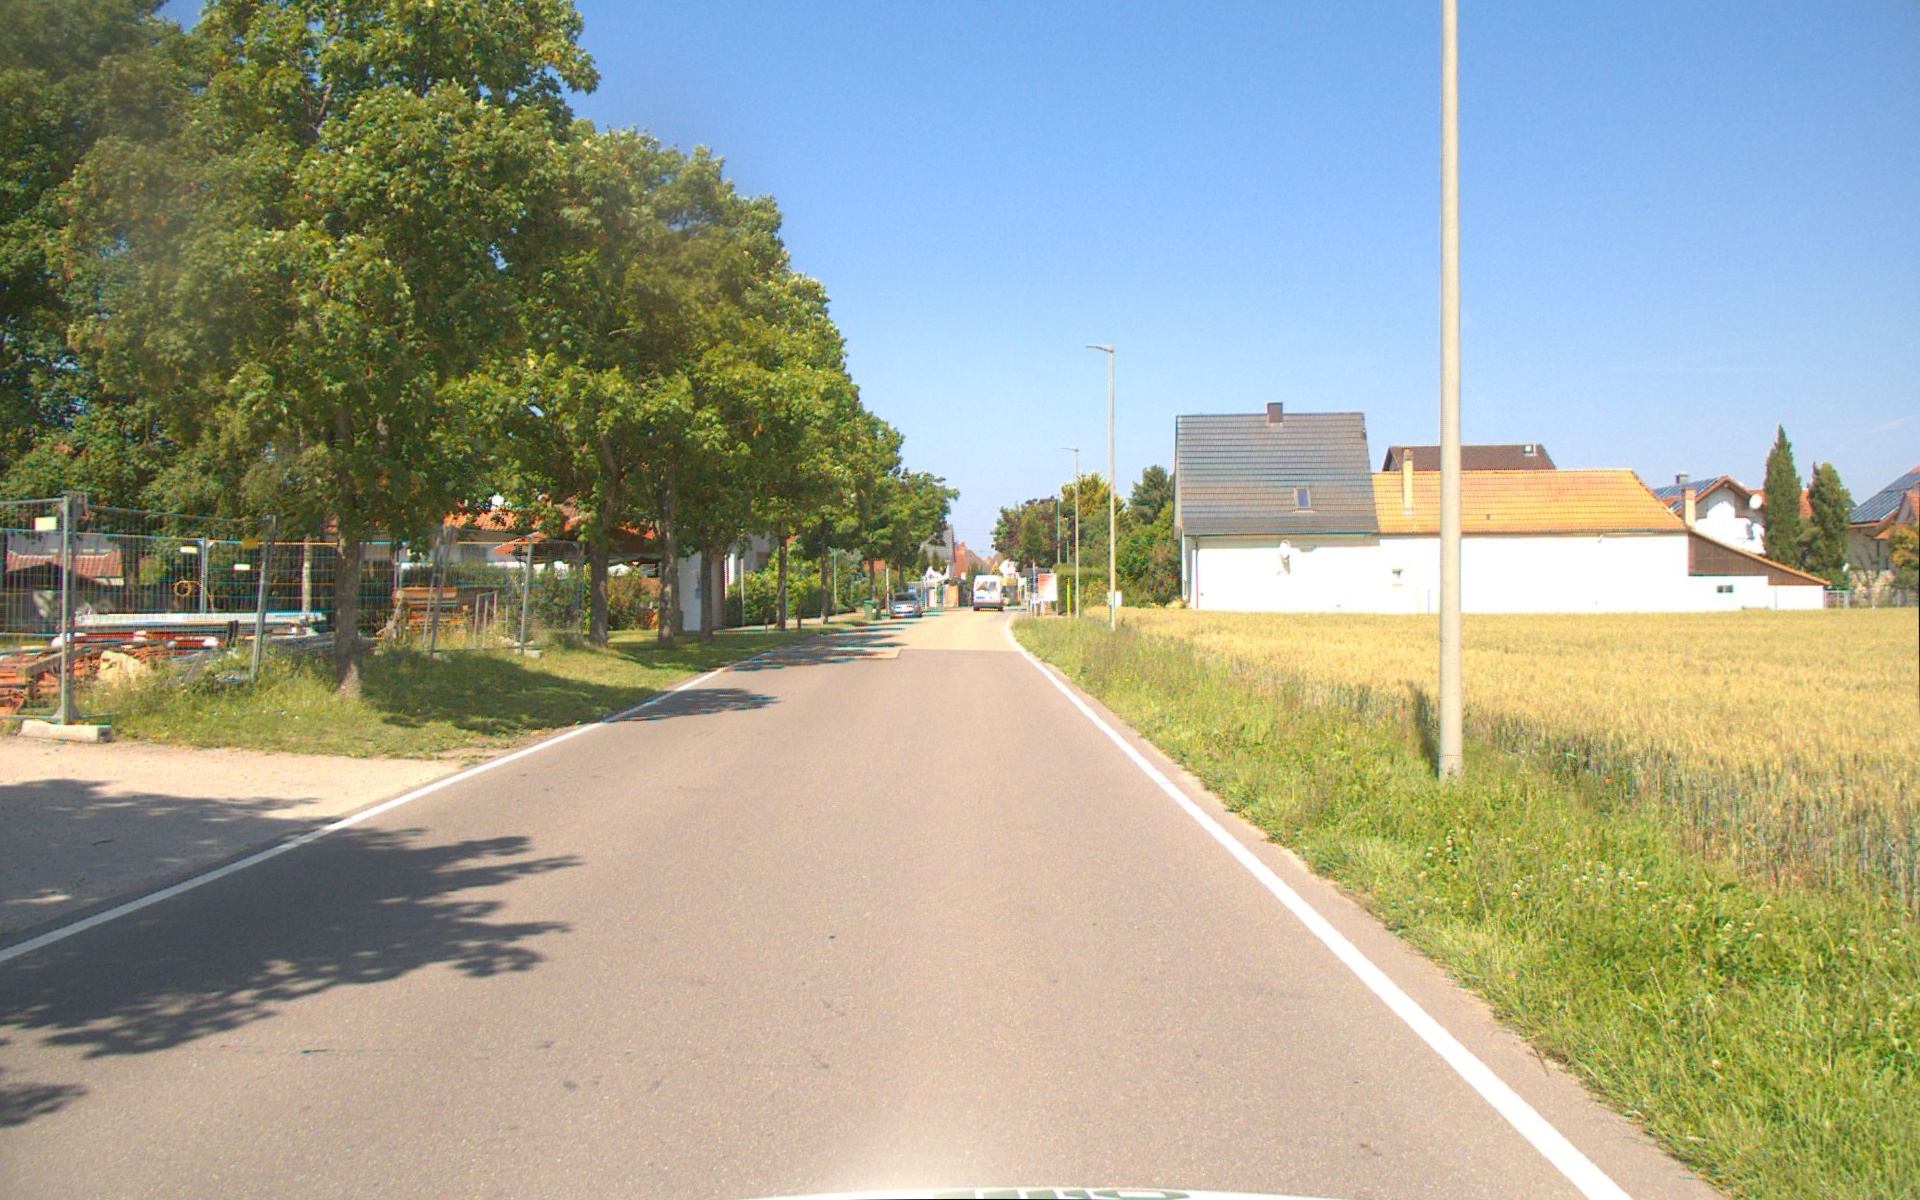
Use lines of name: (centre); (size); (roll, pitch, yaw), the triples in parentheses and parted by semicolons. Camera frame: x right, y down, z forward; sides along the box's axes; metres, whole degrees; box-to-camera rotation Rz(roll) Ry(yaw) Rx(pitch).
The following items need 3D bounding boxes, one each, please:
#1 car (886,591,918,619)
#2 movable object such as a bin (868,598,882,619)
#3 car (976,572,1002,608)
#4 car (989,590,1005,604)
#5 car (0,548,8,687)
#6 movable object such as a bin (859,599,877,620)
car: (-3.270, 0.268, 93.865); (1.613, 1.448, 4.080); (-3, 0, 0)
movable object such as a bin: (-4.567, 0.462, 89.118); (0.562, 1.097, 0.599); (-1, 0, 15)
car: (2.076, -0.715, 117.531); (1.701, 2.474, 4.375); (-1, 0, 2)
car: (4.225, -0.345, 189.831); (1.632, 1.550, 3.441); (-2, 0, -1)
car: (-13.874, 0.241, 20.285); (1.930, 1.870, 4.328); (0, 0, -1)
movable object such as a bin: (-4.922, 0.496, 88.409); (0.699, 1.097, 0.639); (-1, 0, 27)
